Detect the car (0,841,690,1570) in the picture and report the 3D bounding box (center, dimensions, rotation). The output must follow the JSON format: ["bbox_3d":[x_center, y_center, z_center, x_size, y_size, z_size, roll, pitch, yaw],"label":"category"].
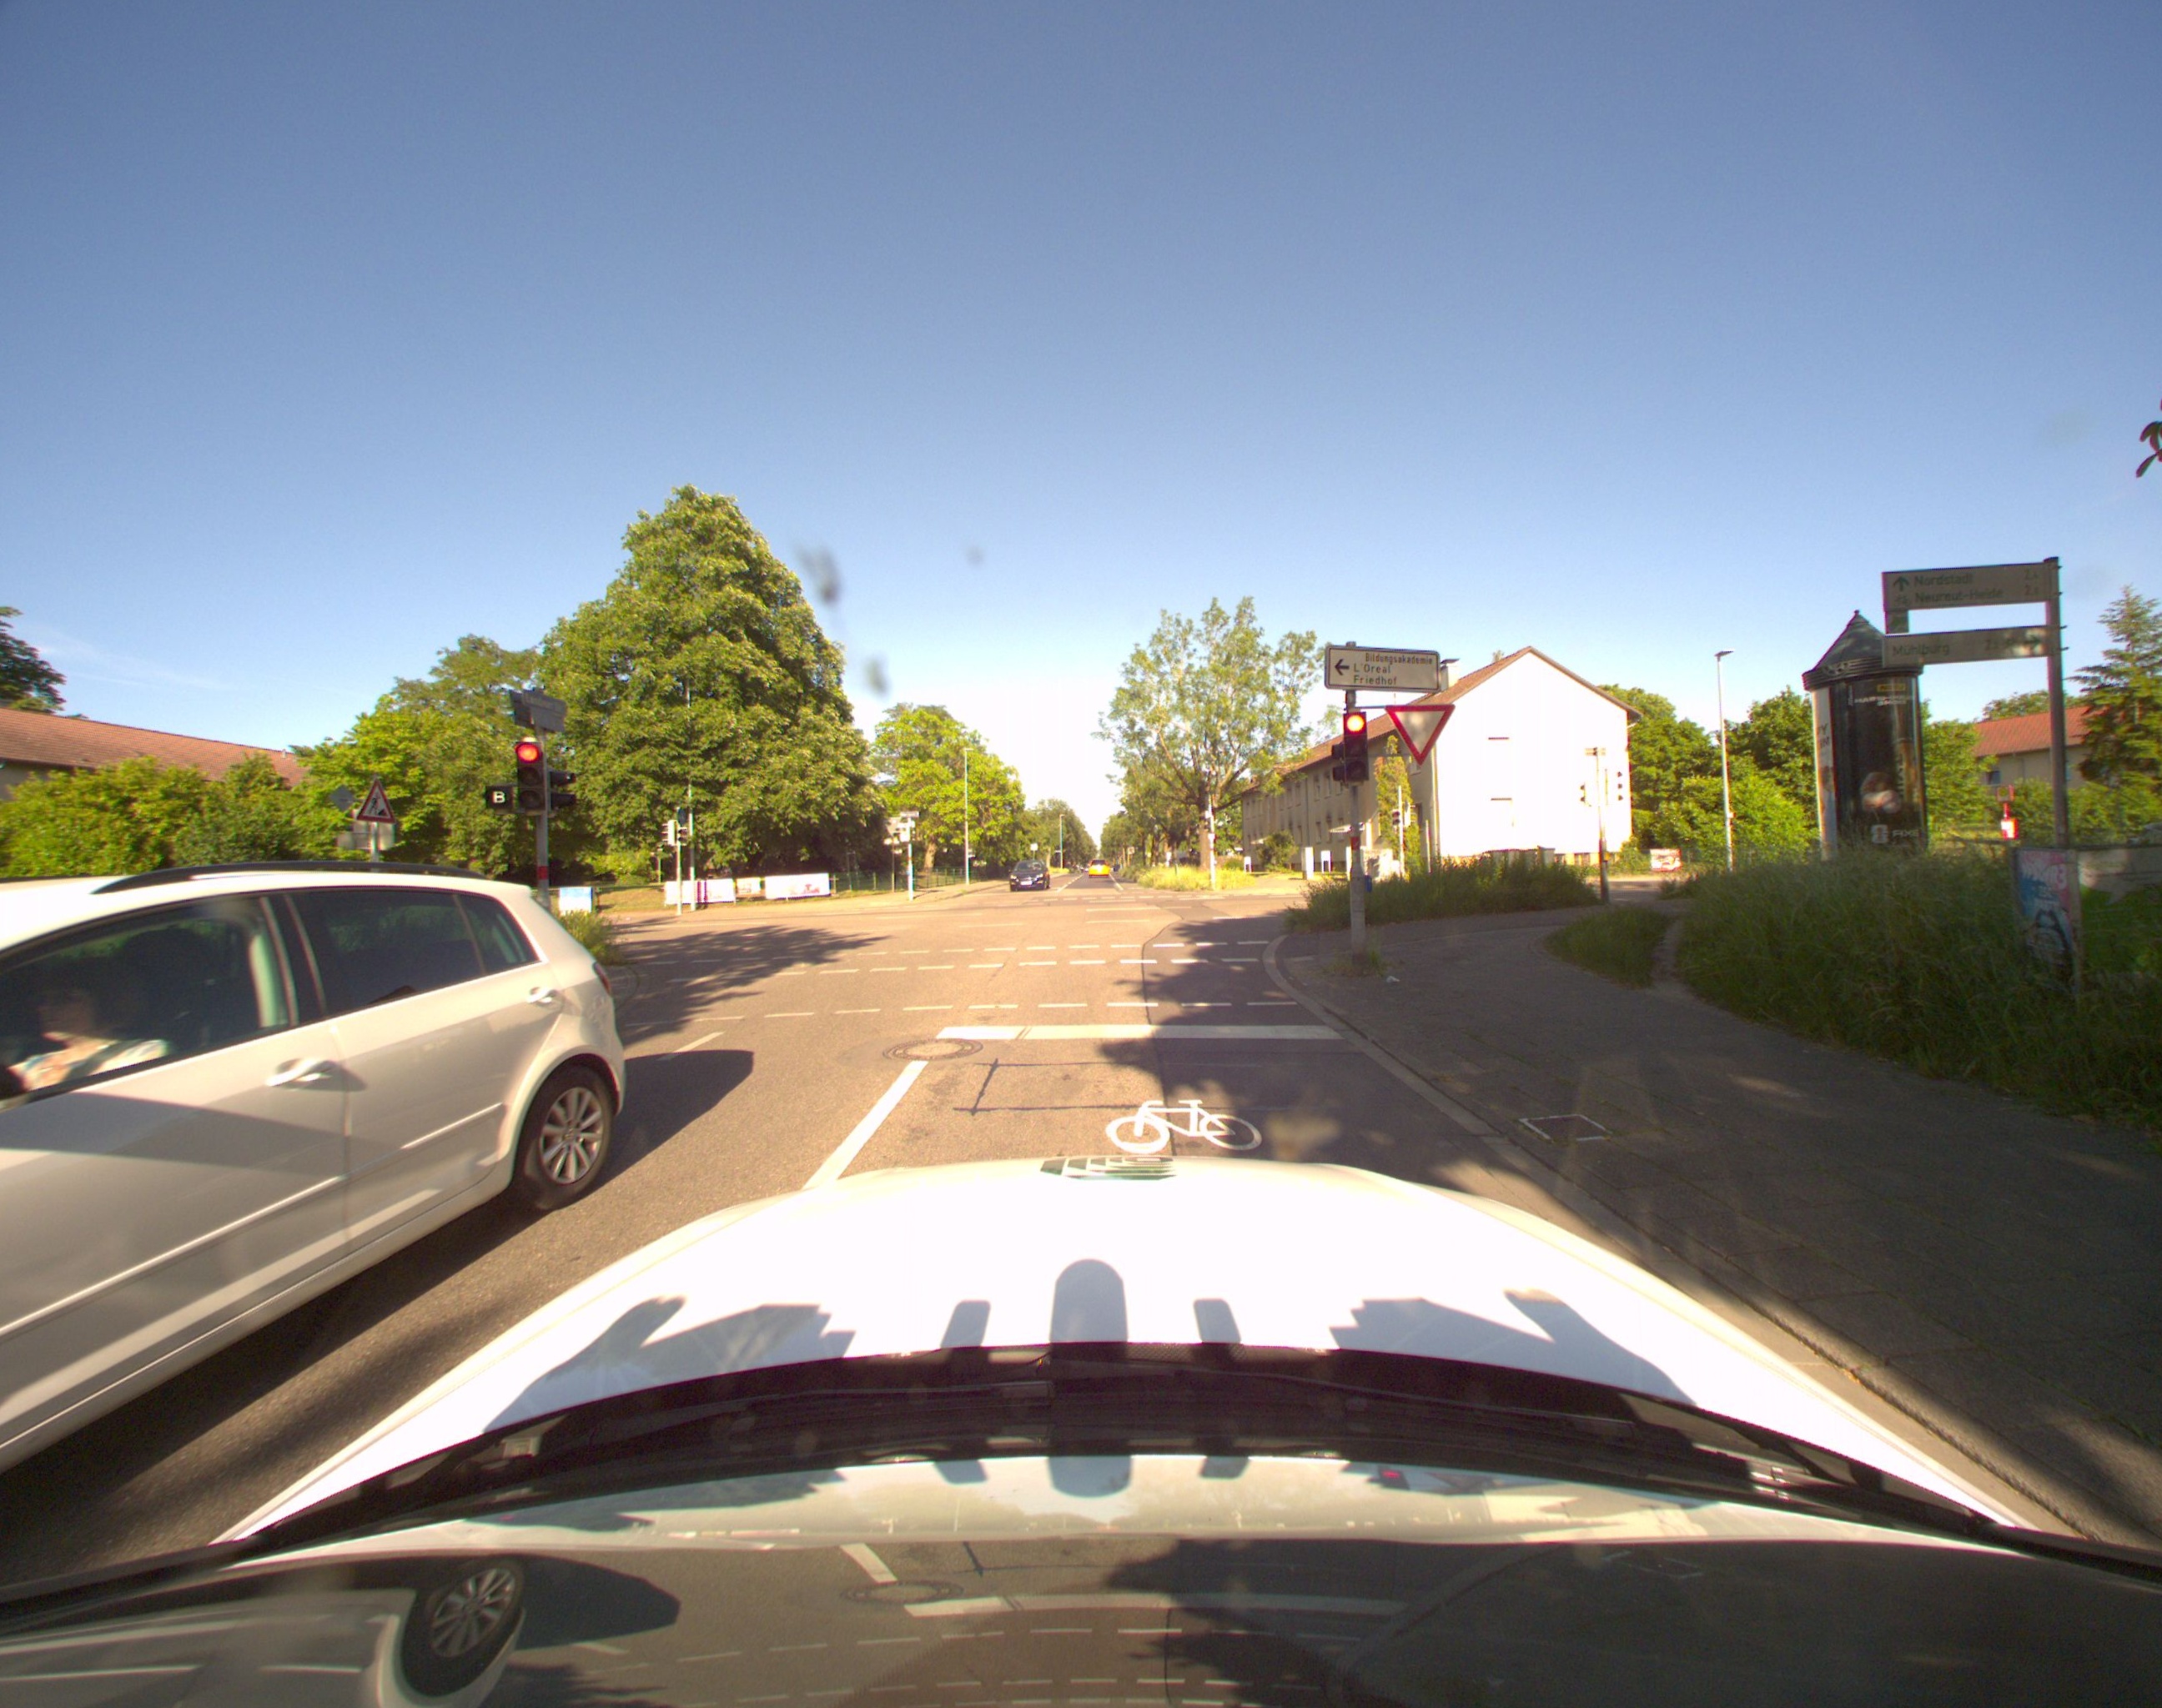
[{"bbox_3d":[-3.211,0.817,2.508,1.745,1.563,4.123,-5,1,2],"label":"car"}]

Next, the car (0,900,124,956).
[{"bbox_3d":[-31.980,2.252,23.975,4.725,1.430,1.994,-3,0,-8],"label":"car"}]

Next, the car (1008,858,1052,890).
[{"bbox_3d":[-2.378,0.917,38.814,1.704,1.385,3.473,-2,0,3],"label":"car"}]

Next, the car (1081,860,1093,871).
[{"bbox_3d":[0.935,1.899,132.539,1.751,1.624,3.271,-2,0,3],"label":"car"}]

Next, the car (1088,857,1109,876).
[{"bbox_3d":[1.489,1.039,68.491,1.745,1.582,4.002,-1,-1,2],"label":"car"}]

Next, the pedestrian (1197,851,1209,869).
[{"bbox_3d":[10.365,0.499,69.255,0.839,1.493,0.924,1,0,1],"label":"pedestrian"}]
